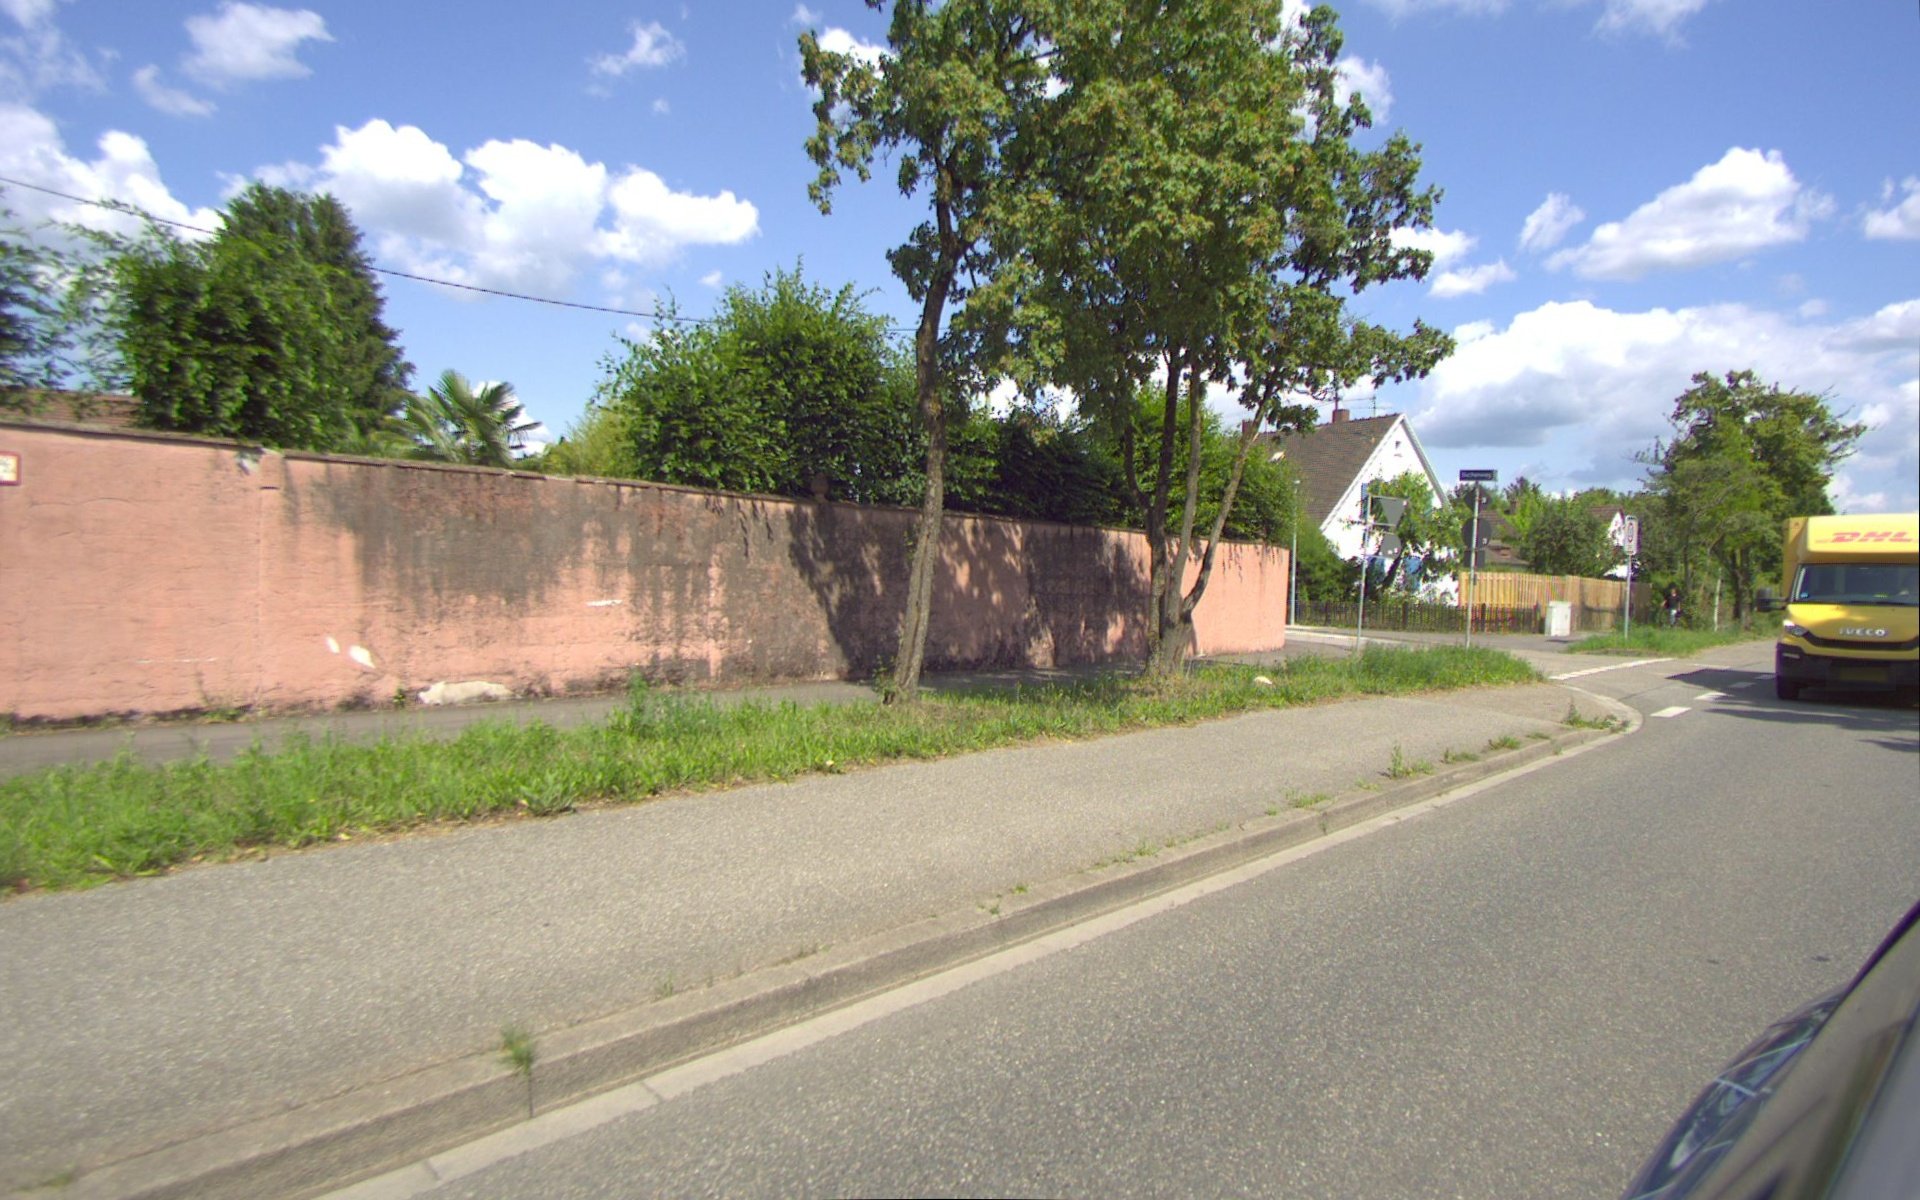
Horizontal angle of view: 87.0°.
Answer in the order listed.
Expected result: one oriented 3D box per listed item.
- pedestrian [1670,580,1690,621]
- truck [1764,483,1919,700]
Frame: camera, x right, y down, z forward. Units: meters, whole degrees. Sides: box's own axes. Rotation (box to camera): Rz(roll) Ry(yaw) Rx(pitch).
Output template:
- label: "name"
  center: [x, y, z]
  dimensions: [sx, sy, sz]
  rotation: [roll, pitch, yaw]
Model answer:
- label: "pedestrian"
  center: [30.014, 0.014, 42.178]
  dimensions: [0.624, 1.698, 0.560]
  rotation: [1, 1, -44]
- label: "truck"
  center: [15.344, -0.059, 16.743]
  dimensions: [7.895, 2.917, 2.266]
  rotation: [1, -1, -45]
